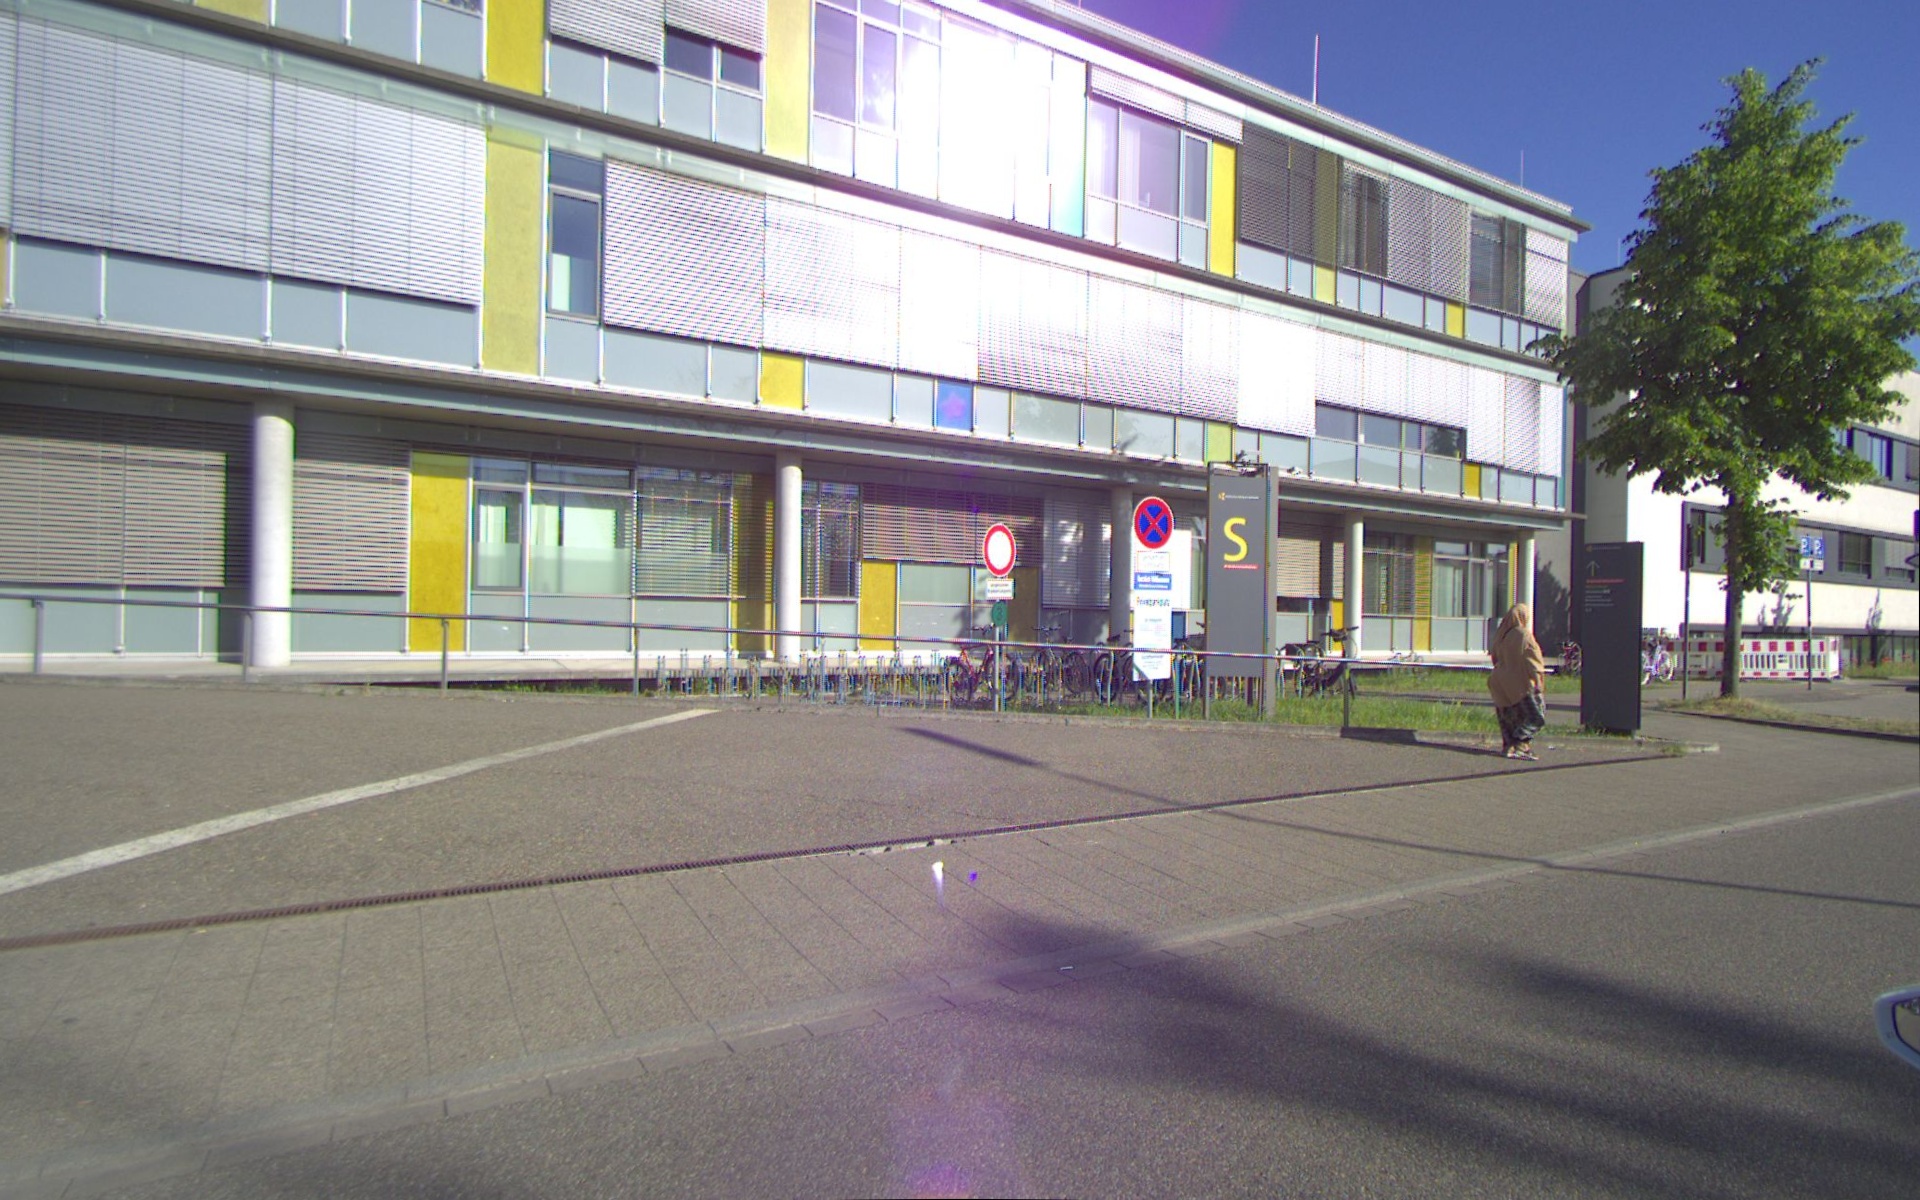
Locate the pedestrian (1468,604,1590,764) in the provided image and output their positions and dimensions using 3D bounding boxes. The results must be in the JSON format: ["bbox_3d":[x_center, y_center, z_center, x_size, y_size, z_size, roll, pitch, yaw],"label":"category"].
[{"bbox_3d":[5.970,0.853,10.555,0.771,1.570,0.769,2,1,-30],"label":"pedestrian"}]

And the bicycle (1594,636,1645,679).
[{"bbox_3d":[15.589,1.348,23.748,1.433,1.002,0.393,1,-1,-29],"label":"bicycle"}]

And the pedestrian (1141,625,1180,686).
[{"bbox_3d":[4.043,1.103,20.245,0.549,1.188,0.529,1,0,-29],"label":"pedestrian"}]

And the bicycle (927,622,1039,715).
[{"bbox_3d":[0.279,0.876,13.421,0.532,1.138,1.701,1,-1,-39],"label":"bicycle"}]

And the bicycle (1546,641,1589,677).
[{"bbox_3d":[15.276,1.472,25.260,1.433,0.885,0.253,1,-1,-29],"label":"bicycle"}]

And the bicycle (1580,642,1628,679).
[{"bbox_3d":[15.605,1.450,24.326,1.433,0.875,0.367,1,-1,-29],"label":"bicycle"}]

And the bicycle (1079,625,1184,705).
[{"bbox_3d":[2.471,0.915,14.630,0.530,1.069,1.706,1,-1,-31],"label":"bicycle"}]

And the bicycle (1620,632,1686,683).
[{"bbox_3d":[16.241,1.331,23.522,1.838,1.126,0.532,1,-1,-29],"label":"bicycle"}]

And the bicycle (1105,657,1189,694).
[{"bbox_3d":[3.407,1.373,18.433,0.530,0.559,1.706,1,-1,-30],"label":"bicycle"}]

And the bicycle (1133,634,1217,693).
[{"bbox_3d":[4.013,1.167,18.841,0.530,1.007,1.706,1,-1,-30],"label":"bicycle"}]

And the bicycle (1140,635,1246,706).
[{"bbox_3d":[3.514,1.041,15.278,0.530,0.987,1.706,1,-1,-31],"label":"bicycle"}]

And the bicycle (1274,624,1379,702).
[{"bbox_3d":[5.772,0.965,15.896,0.529,1.136,1.698,1,-1,-24],"label":"bicycle"}]

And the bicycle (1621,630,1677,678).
[{"bbox_3d":[16.917,1.322,24.654,1.742,1.138,0.418,1,-1,-29],"label":"bicycle"}]

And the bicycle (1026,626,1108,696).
[{"bbox_3d":[1.859,1.042,17.657,0.530,1.138,1.706,1,-1,-30],"label":"bicycle"}]
